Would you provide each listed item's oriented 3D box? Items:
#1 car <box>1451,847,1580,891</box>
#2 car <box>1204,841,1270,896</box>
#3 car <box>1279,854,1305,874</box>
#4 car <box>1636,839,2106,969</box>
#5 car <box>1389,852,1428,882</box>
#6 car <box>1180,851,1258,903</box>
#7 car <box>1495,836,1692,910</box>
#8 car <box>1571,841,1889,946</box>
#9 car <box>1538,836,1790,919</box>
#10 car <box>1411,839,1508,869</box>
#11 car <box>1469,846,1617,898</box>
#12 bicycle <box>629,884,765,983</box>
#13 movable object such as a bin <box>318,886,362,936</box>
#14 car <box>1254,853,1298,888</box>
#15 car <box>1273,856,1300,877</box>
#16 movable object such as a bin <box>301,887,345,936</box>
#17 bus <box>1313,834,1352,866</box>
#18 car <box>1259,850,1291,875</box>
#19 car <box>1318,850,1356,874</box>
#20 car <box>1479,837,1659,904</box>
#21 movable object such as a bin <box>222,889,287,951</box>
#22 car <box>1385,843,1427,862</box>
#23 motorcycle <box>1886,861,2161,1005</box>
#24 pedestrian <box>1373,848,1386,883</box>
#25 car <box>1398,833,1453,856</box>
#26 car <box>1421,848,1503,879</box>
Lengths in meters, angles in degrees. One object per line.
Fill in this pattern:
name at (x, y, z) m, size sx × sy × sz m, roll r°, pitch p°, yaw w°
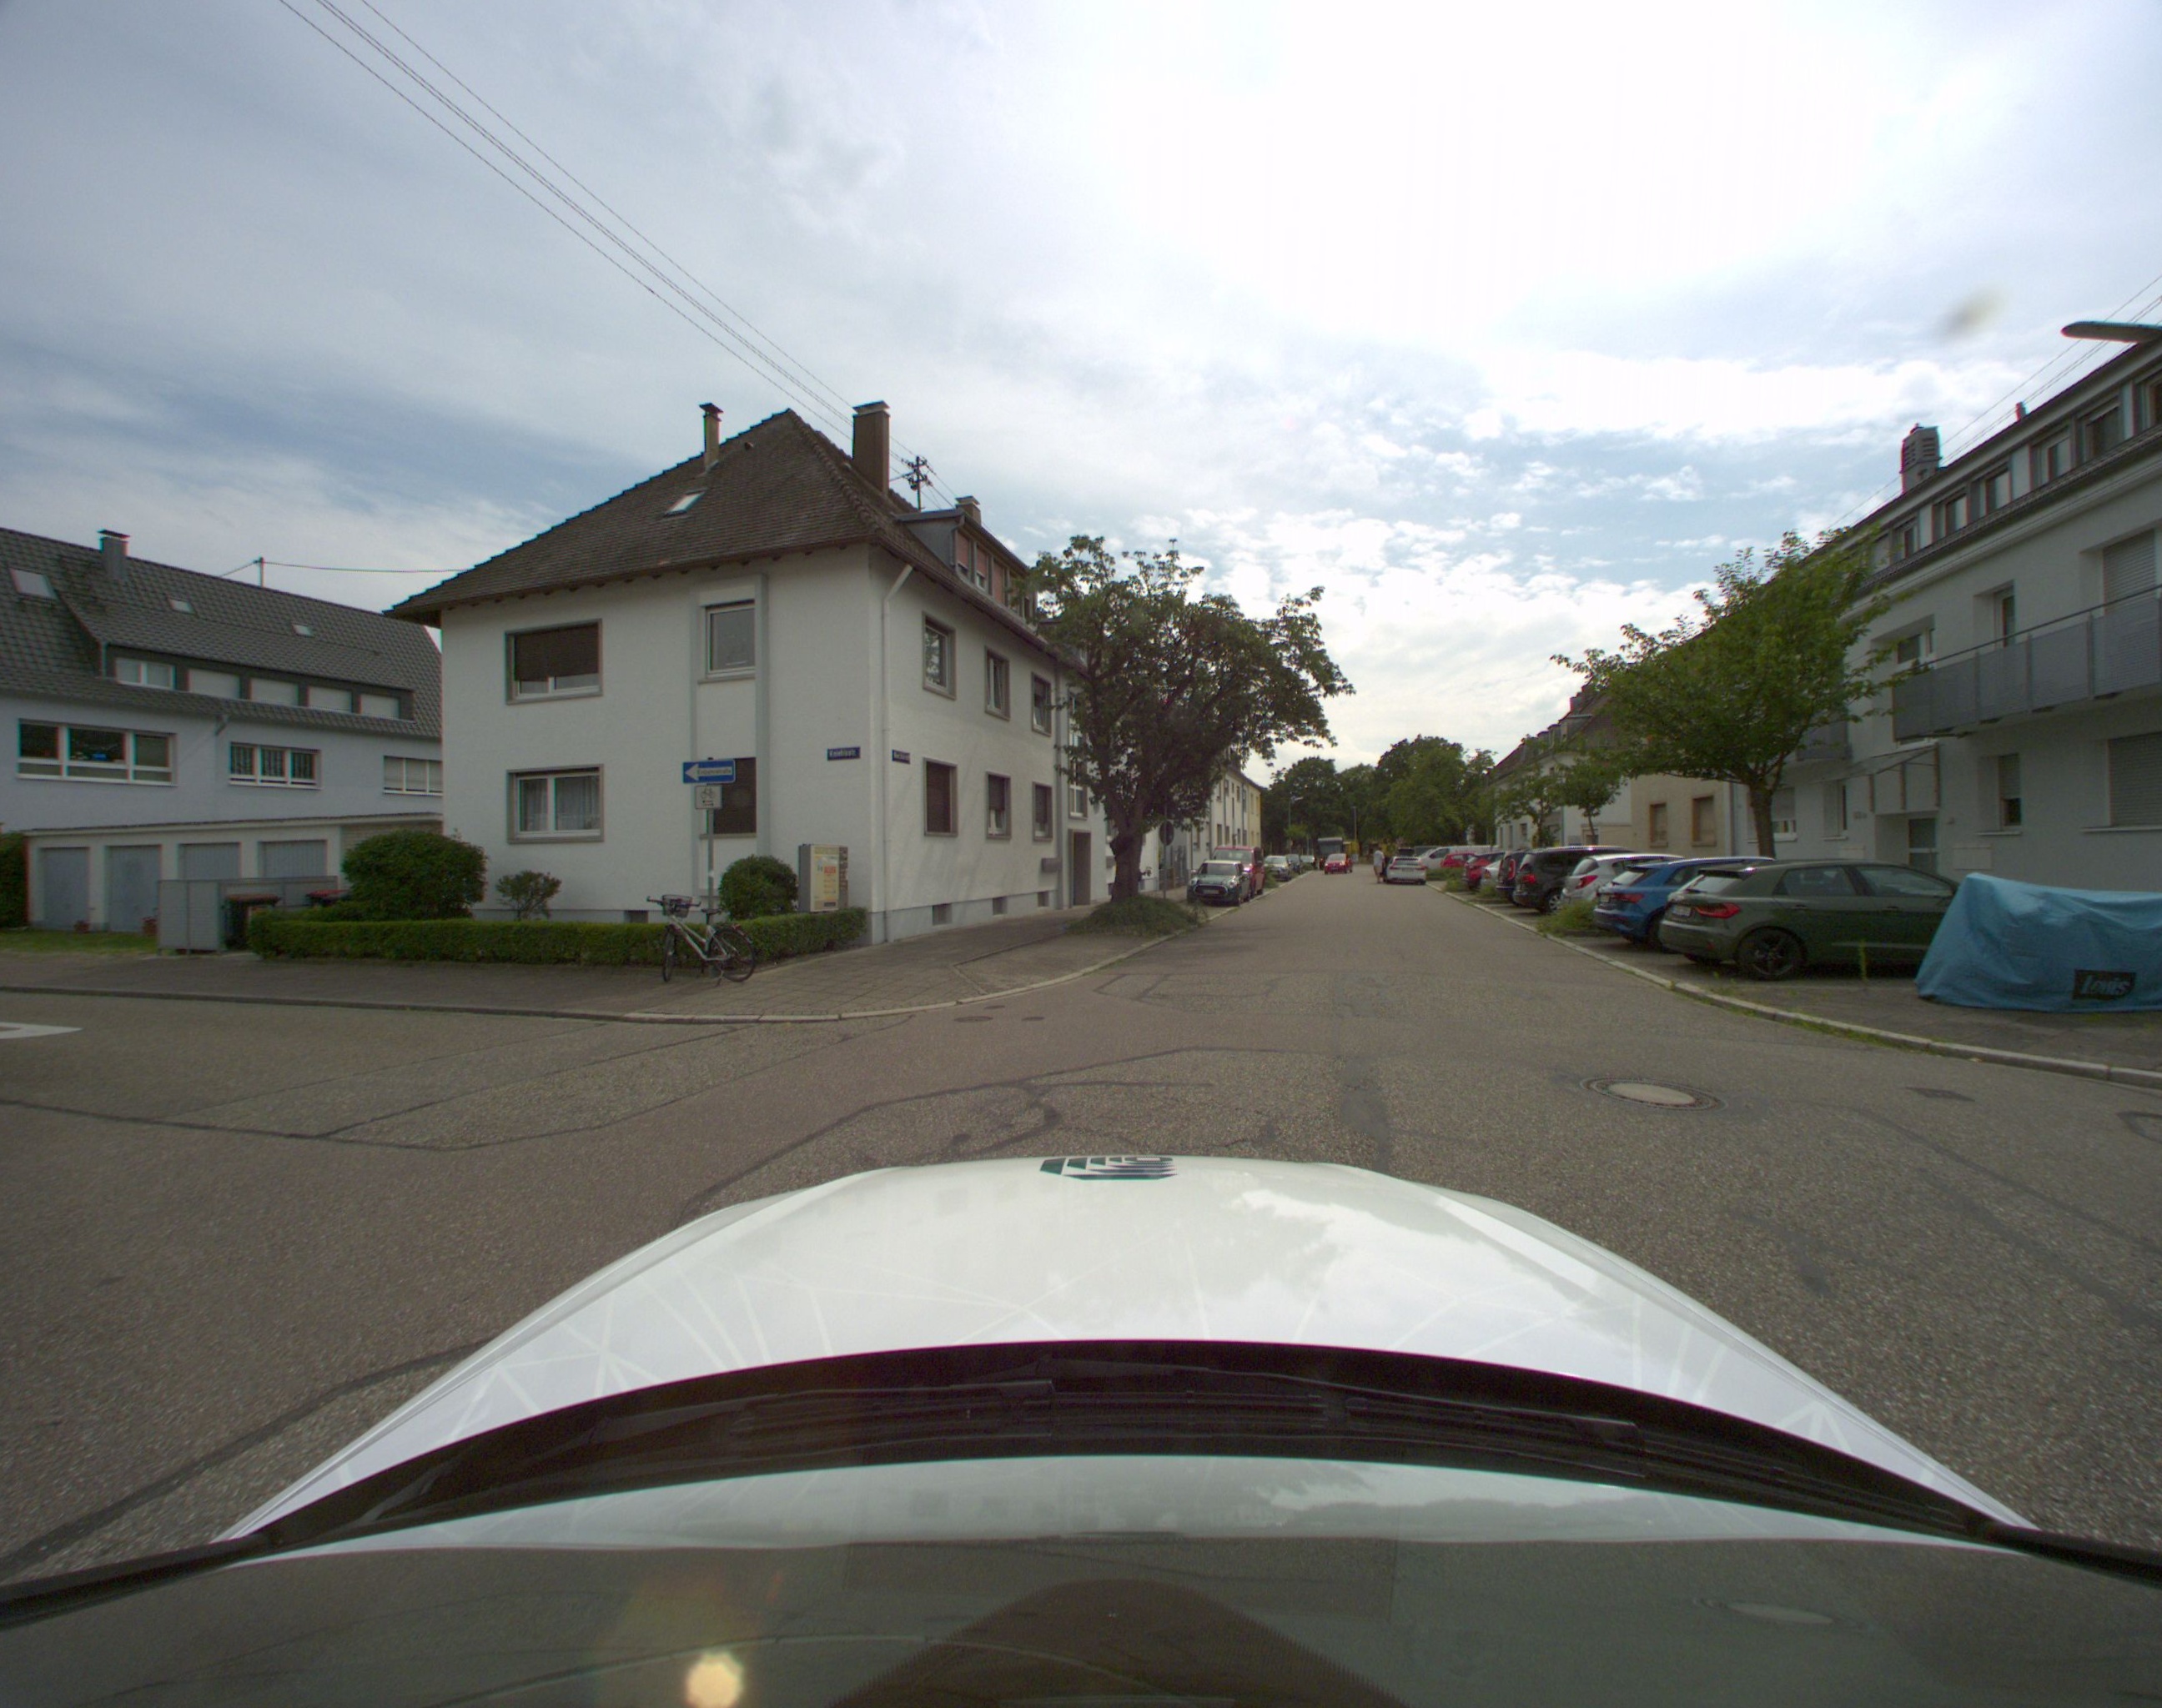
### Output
car at (16.050, 0.560, 30.322) m, size 3.955 × 1.439 × 1.731 m, roll -3°, pitch -1°, yaw 18°
car at (6.254, 0.542, 32.338) m, size 1.977 × 2.013 × 4.541 m, roll -1°, pitch 0°, yaw 18°
car at (16.161, 0.747, 62.317) m, size 1.638 × 1.377 × 3.739 m, roll -3°, pitch -1°, yaw 18°
car at (9.321, 0.610, 10.045) m, size 3.716 × 1.365 × 1.782 m, roll -3°, pitch -1°, yaw 19°
car at (16.645, 0.631, 41.517) m, size 1.673 × 1.354 × 3.845 m, roll -3°, pitch -1°, yaw 20°
car at (4.705, 0.718, 27.344) m, size 1.748 × 1.554 × 3.750 m, roll -3°, pitch -1°, yaw 22°
car at (12.346, 0.468, 19.900) m, size 3.716 × 1.564 × 1.782 m, roll -3°, pitch -1°, yaw 19°
car at (9.803, 0.613, 12.620) m, size 3.489 × 1.412 × 1.566 m, roll -3°, pitch -1°, yaw 18°
car at (12.170, 0.500, 17.308) m, size 3.955 × 1.518 × 1.731 m, roll -3°, pitch -1°, yaw 18°
car at (22.388, 0.002, 48.385) m, size 4.936 × 1.518 × 1.776 m, roll -3°, pitch -1°, yaw 16°
car at (15.252, 0.585, 27.096) m, size 3.955 × 1.518 × 1.731 m, roll -3°, pitch -1°, yaw 18°
bicycle at (-4.900, 1.010, 10.396) m, size 1.621 × 1.179 × 0.437 m, roll -3°, pitch -1°, yaw 14°
movable object such as a bin at (-15.185, 1.164, 16.692) m, size 0.501 × 0.973 × 0.457 m, roll -3°, pitch -1°, yaw 20°
car at (9.109, 0.733, 37.810) m, size 1.638 × 1.461 × 3.569 m, roll -3°, pitch -1°, yaw 18°
car at (13.662, 0.803, 54.047) m, size 1.527 × 1.301 × 3.737 m, roll -3°, pitch -1°, yaw 16°
movable object such as a bin at (-15.715, 1.196, 16.892) m, size 0.501 × 0.973 × 0.457 m, roll -3°, pitch -1°, yaw 20°
bus at (24.548, -0.391, 79.227) m, size 2.978 × 2.761 × 8.969 m, roll -3°, pitch -1°, yaw 20°
car at (11.769, 0.492, 49.317) m, size 1.638 × 1.377 × 3.737 m, roll -3°, pitch -1°, yaw 16°
car at (19.112, 0.565, 60.751) m, size 1.975 × 1.618 × 4.024 m, roll -3°, pitch -1°, yaw 28°
car at (13.449, 0.461, 22.743) m, size 3.954 × 1.618 × 1.876 m, roll -3°, pitch -1°, yaw 19°
movable object such as a bin at (-16.092, 1.285, 15.862) m, size 0.746 × 1.137 × 0.584 m, roll -3°, pitch -1°, yaw 19°
car at (30.523, -0.179, 76.573) m, size 3.500 × 1.602 × 1.782 m, roll -3°, pitch -1°, yaw 19°
motorcycle at (9.051, 0.683, 7.467) m, size 2.176 × 1.210 × 0.944 m, roll -1°, pitch 0°, yaw 16°
pedestrian at (15.002, 0.569, 40.938) m, size 0.517 × 1.704 × 0.447 m, roll -3°, pitch -1°, yaw 22°
car at (25.024, -0.669, 59.225) m, size 3.500 × 1.425 × 1.606 m, roll -3°, pitch -1°, yaw 19°
car at (21.479, 0.537, 46.100) m, size 3.955 × 1.518 × 1.731 m, roll -3°, pitch -1°, yaw 18°
